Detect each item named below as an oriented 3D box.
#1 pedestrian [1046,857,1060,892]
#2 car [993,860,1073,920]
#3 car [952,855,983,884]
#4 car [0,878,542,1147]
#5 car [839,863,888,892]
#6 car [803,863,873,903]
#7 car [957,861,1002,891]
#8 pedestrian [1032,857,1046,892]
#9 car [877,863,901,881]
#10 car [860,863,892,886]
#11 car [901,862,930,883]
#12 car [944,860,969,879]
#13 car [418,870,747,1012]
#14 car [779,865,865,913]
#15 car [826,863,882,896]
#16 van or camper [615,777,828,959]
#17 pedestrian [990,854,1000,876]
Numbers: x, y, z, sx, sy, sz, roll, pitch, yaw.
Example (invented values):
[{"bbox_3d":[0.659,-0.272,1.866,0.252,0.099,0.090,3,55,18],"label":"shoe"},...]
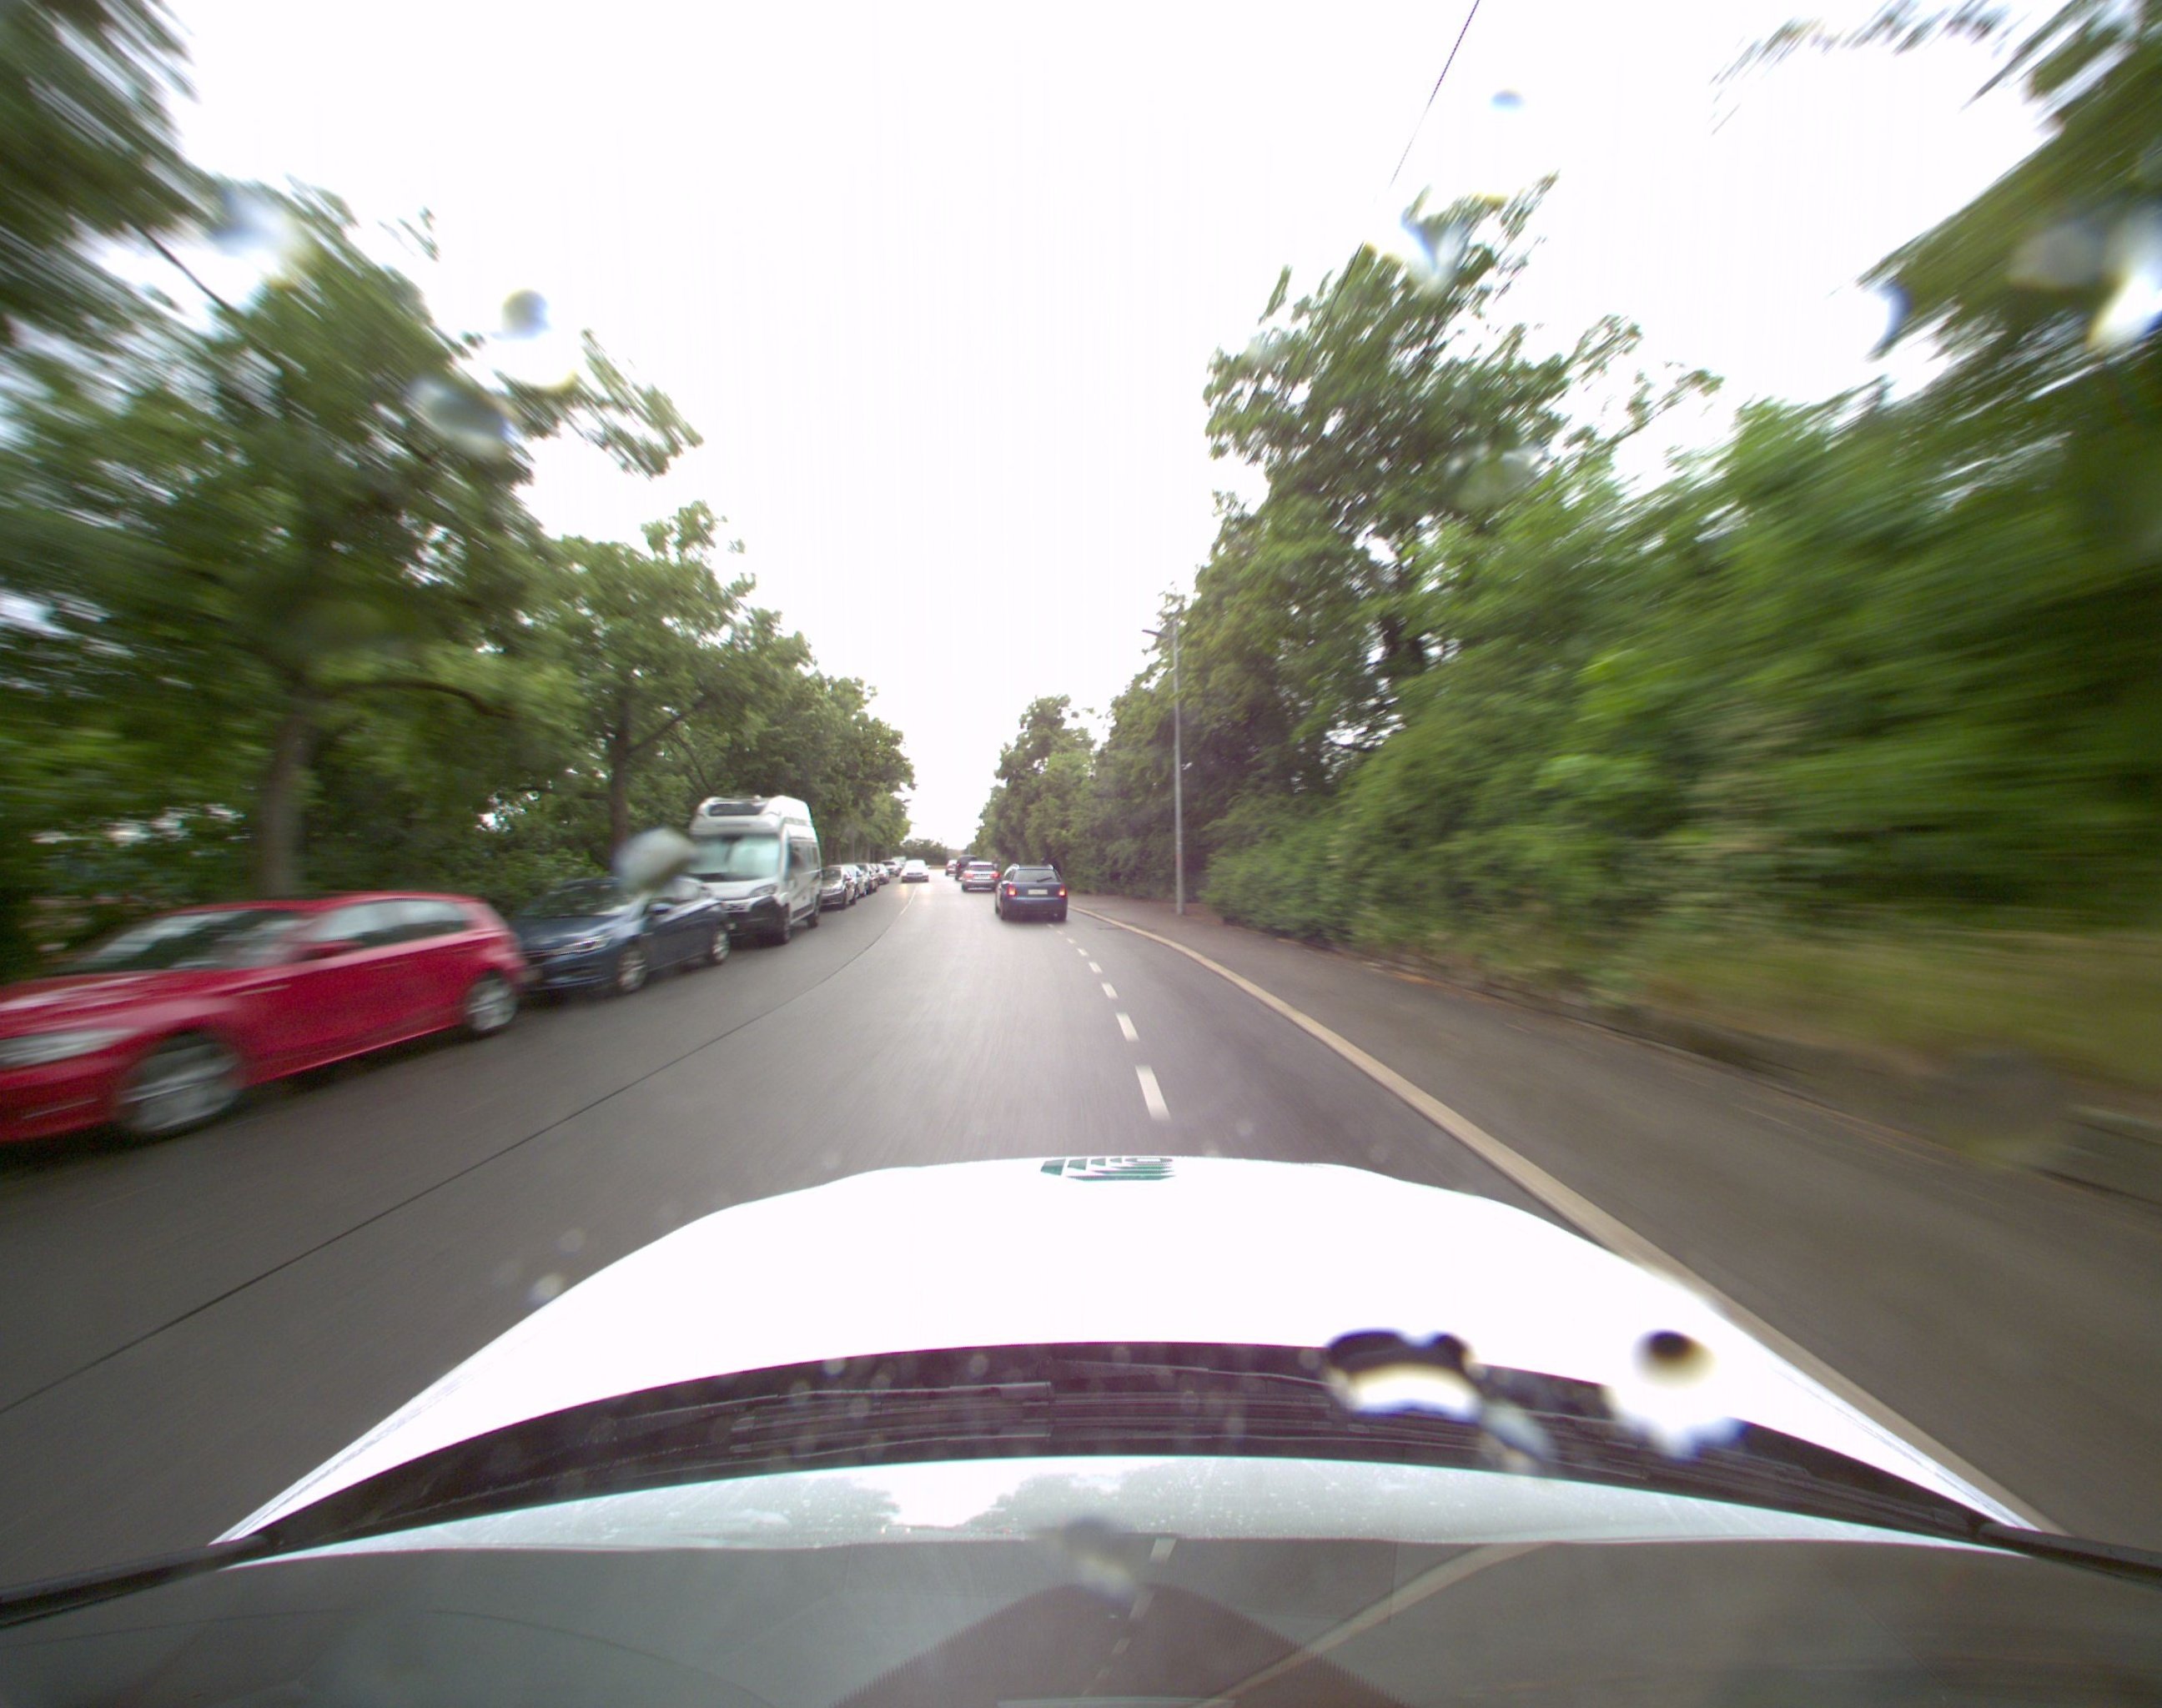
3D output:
[{"bbox_3d":[-1.294,0.925,37.182,0.595,1.566,0.667,-1,-1,-6],"label":"pedestrian"},{"bbox_3d":[-1.418,0.924,22.525,1.747,1.407,3.986,1,1,-10],"label":"car"},{"bbox_3d":[-8.361,1.177,59.847,1.790,1.953,3.982,-4,-1,-13],"label":"car"},{"bbox_3d":[-6.480,1.010,6.506,1.949,1.408,3.542,-3,0,-1],"label":"car"},{"bbox_3d":[-11.890,1.247,44.763,1.993,1.405,4.700,-2,-1,-8],"label":"car"},{"bbox_3d":[-10.084,1.142,34.164,1.992,1.405,4.703,-2,1,-7],"label":"car"},{"bbox_3d":[-5.174,1.072,40.995,1.892,1.389,3.983,-1,-1,-12],"label":"car"},{"bbox_3d":[-1.908,0.927,37.165,0.551,1.566,0.486,-2,-1,-6],"label":"pedestrian"},{"bbox_3d":[-17.040,1.593,72.558,1.688,1.437,4.243,-1,-1,-9],"label":"car"},{"bbox_3d":[-13.511,1.313,53.802,1.755,1.402,4.402,-1,-1,-11],"label":"car"},{"bbox_3d":[-11.437,1.276,56.602,1.884,1.402,4.240,-1,-1,-11],"label":"car"},{"bbox_3d":[-11.465,1.409,74.709,1.825,1.617,3.766,-1,-1,-15],"label":"car"},{"bbox_3d":[-6.499,1.021,11.321,1.949,1.408,4.205,-3,0,-1],"label":"car"},{"bbox_3d":[-8.851,1.123,28.317,1.993,1.309,5.338,-3,1,-9],"label":"car"},{"bbox_3d":[-10.935,1.190,39.500,1.993,1.405,4.700,-2,-1,-8],"label":"car"},{"bbox_3d":[-7.207,0.266,17.347,2.506,3.027,6.538,-3,0,-10],"label":"van or camper"},{"bbox_3d":[-7.103,0.897,67.201,0.716,1.835,1.018,-2,0,-9],"label":"pedestrian"}]
